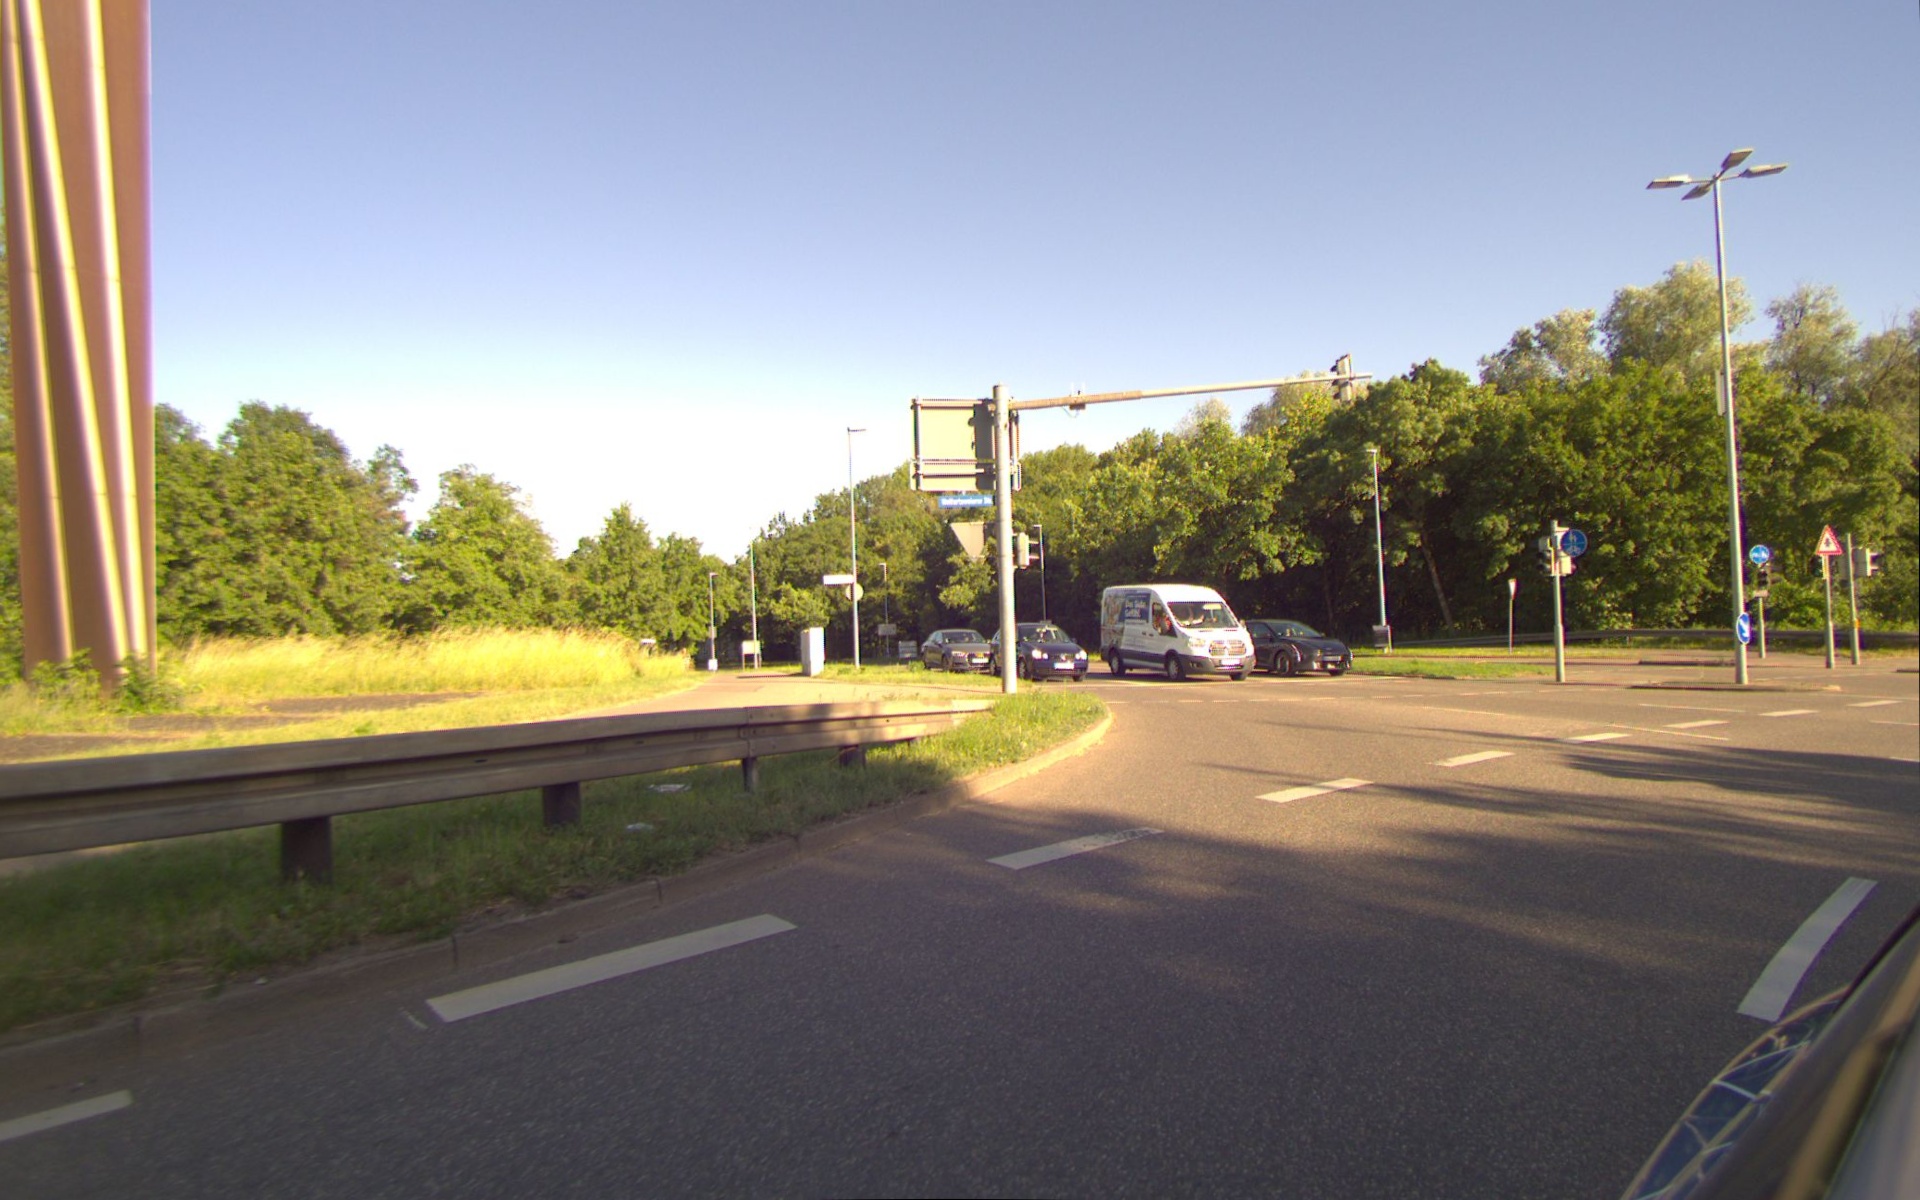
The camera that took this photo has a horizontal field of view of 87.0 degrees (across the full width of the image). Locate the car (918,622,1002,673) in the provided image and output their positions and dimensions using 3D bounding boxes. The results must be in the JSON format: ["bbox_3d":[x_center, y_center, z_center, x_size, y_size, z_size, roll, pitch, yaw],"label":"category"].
[{"bbox_3d":[-0.075,1.460,32.246,1.613,1.408,4.299,0,0,-15],"label":"car"}]

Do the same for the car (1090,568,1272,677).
[{"bbox_3d":[5.536,0.598,26.345,2.070,2.531,5.716,0,-2,-17],"label":"car"}]

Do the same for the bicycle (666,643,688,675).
[{"bbox_3d":[-17.406,3.666,62.182,1.159,1.887,3.466,0,-4,-18],"label":"bicycle"}]

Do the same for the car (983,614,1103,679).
[{"bbox_3d":[2.027,1.120,25.935,1.806,1.431,3.996,0,0,-16],"label":"car"}]

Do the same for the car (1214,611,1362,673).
[{"bbox_3d":[8.770,1.069,27.423,1.732,1.458,4.097,0,0,-18],"label":"car"}]

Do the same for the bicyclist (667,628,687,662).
[{"bbox_3d":[-17.353,2.758,62.073,1.168,2.040,0.878,0,-3,-16],"label":"bicyclist"}]
